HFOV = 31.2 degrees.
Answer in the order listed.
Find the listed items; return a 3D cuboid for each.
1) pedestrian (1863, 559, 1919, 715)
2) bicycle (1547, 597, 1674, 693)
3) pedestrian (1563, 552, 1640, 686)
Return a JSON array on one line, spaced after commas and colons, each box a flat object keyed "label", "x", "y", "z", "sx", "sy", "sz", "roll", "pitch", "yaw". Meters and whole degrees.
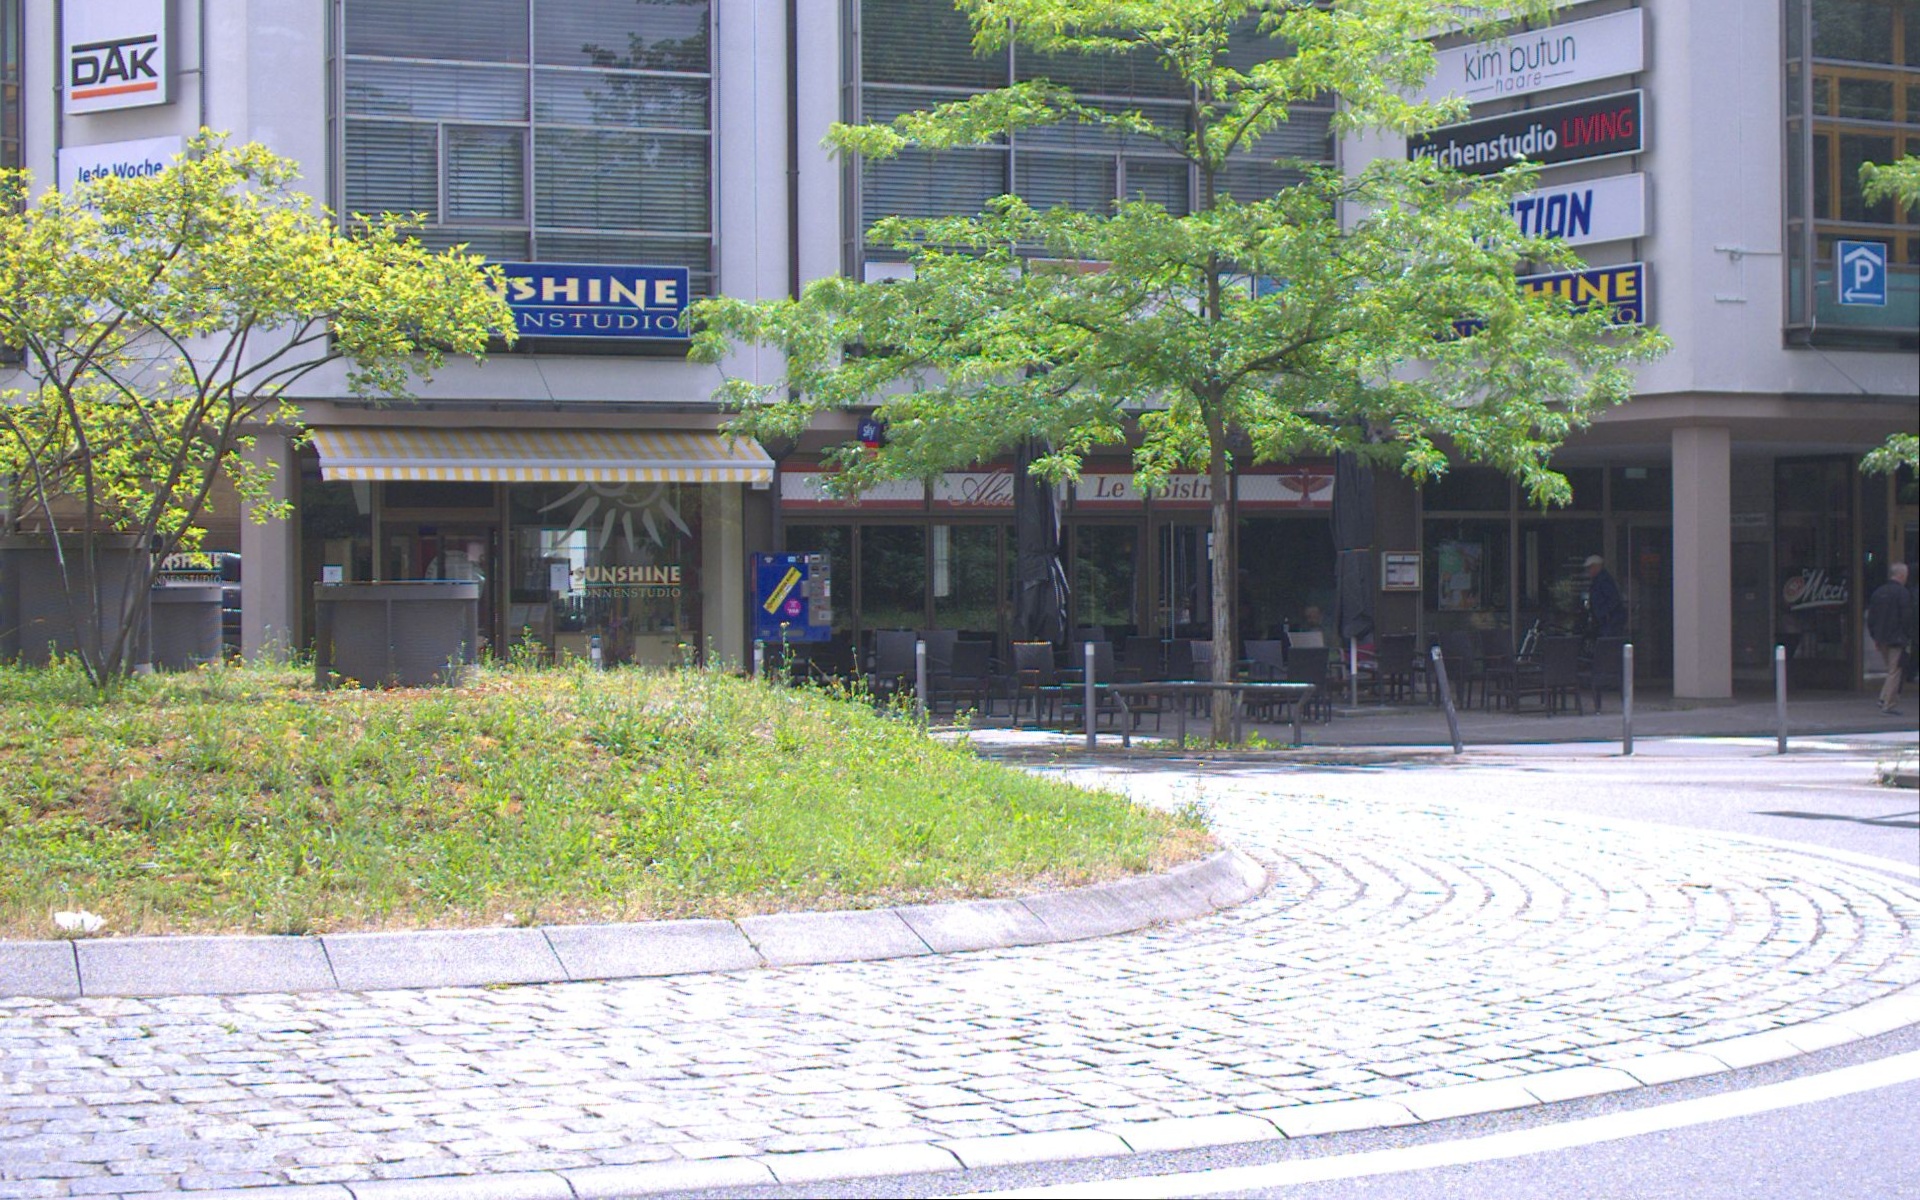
[{"label": "pedestrian", "x": 10.286, "y": 0.393, "z": 37.342, "sx": 0.696, "sy": 1.669, "sz": 0.617, "roll": 1, "pitch": 1, "yaw": -44}, {"label": "bicycle", "x": 8.220, "y": 0.567, "z": 43.426, "sx": 1.539, "sy": 1.164, "sz": 0.496, "roll": 1, "pitch": -1, "yaw": 13}, {"label": "pedestrian", "x": 8.148, "y": 0.238, "z": 43.659, "sx": 0.695, "sy": 1.669, "sz": 0.617, "roll": 1, "pitch": 1, "yaw": -31}]
